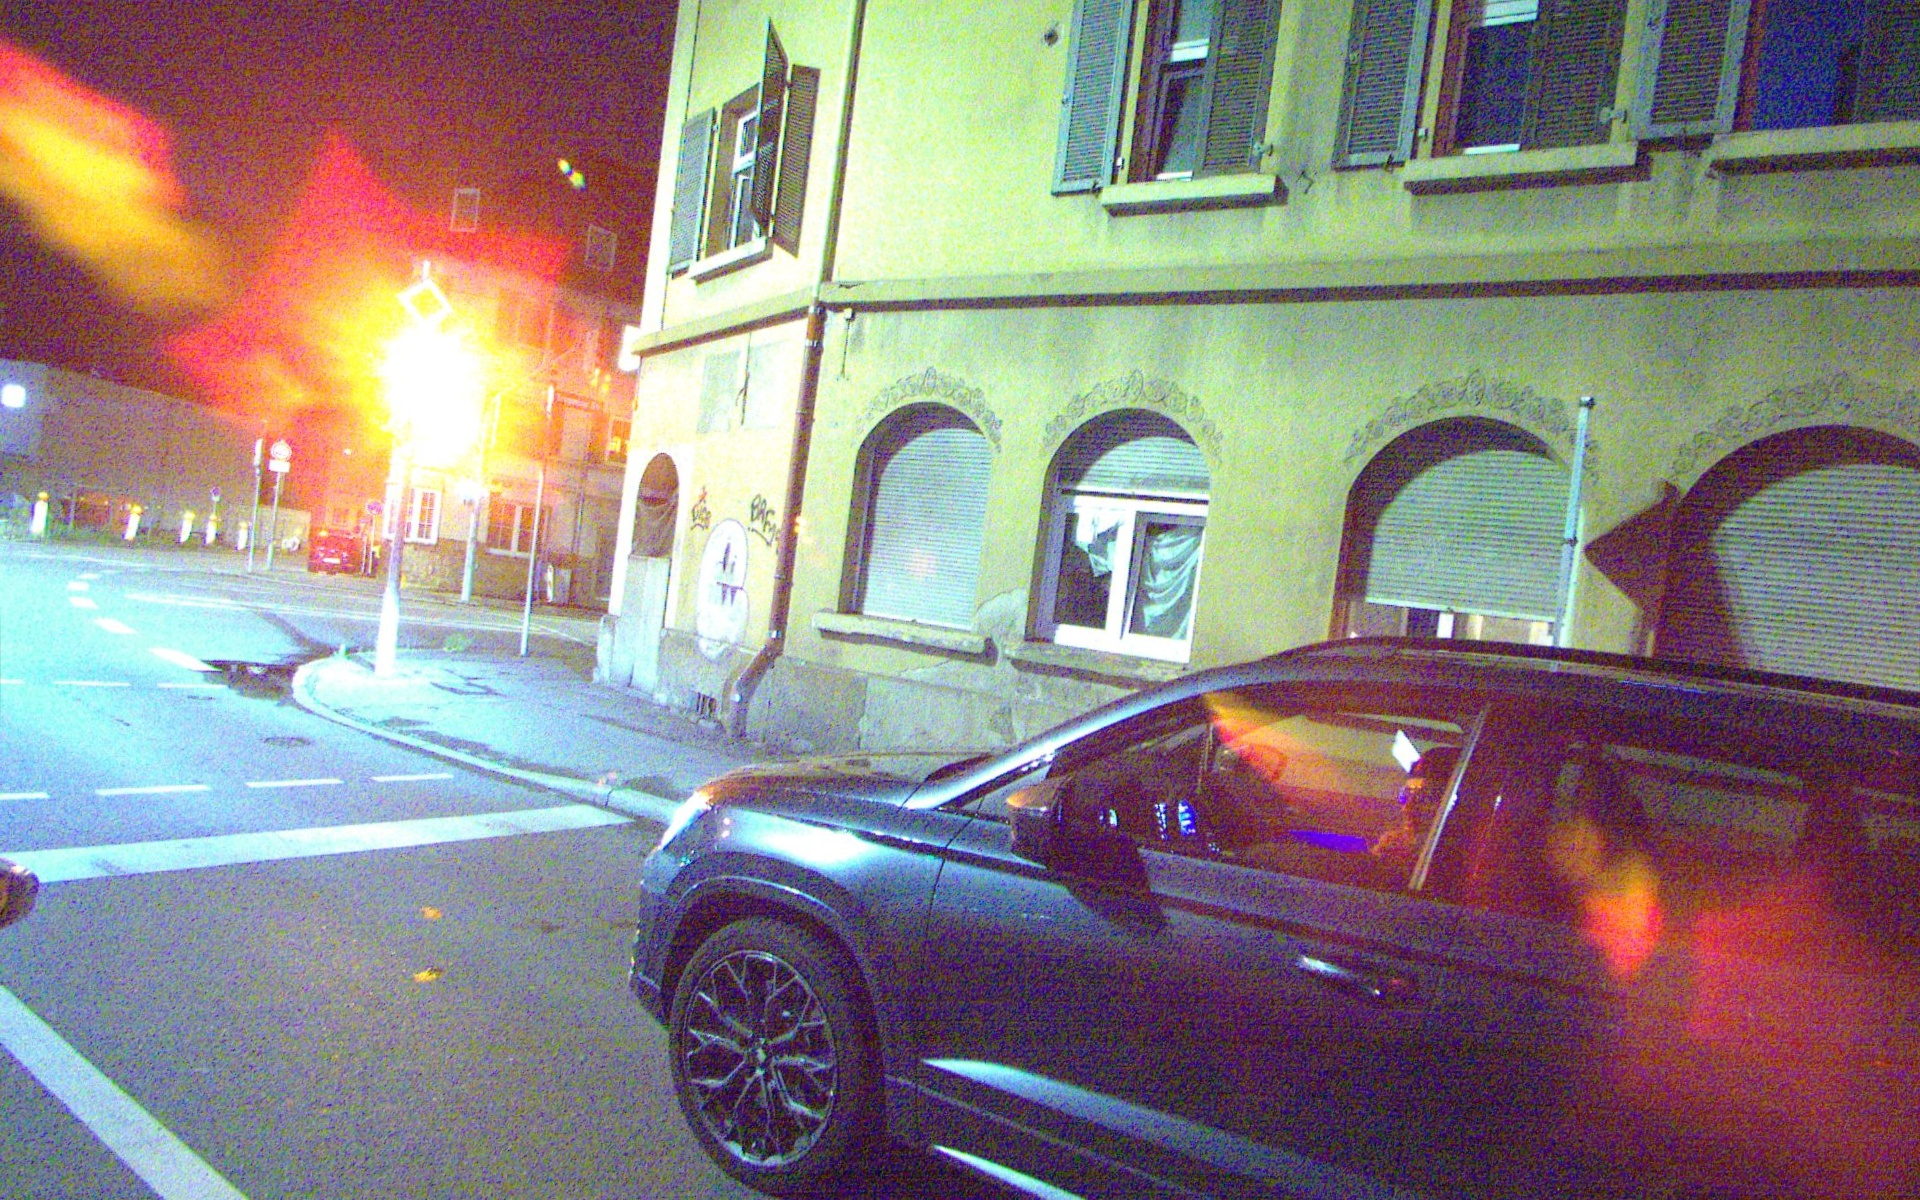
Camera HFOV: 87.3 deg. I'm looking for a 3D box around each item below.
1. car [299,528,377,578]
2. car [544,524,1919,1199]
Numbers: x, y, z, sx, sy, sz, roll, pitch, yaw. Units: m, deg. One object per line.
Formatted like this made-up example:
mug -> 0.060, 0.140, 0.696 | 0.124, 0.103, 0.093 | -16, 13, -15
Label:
car -> -24.475, -1.806, 39.712 | 1.708, 1.631, 3.610 | 7, -1, -19
car -> 1.110, 0.842, 2.587 | 4.157, 1.629, 1.674 | 6, -1, 29
